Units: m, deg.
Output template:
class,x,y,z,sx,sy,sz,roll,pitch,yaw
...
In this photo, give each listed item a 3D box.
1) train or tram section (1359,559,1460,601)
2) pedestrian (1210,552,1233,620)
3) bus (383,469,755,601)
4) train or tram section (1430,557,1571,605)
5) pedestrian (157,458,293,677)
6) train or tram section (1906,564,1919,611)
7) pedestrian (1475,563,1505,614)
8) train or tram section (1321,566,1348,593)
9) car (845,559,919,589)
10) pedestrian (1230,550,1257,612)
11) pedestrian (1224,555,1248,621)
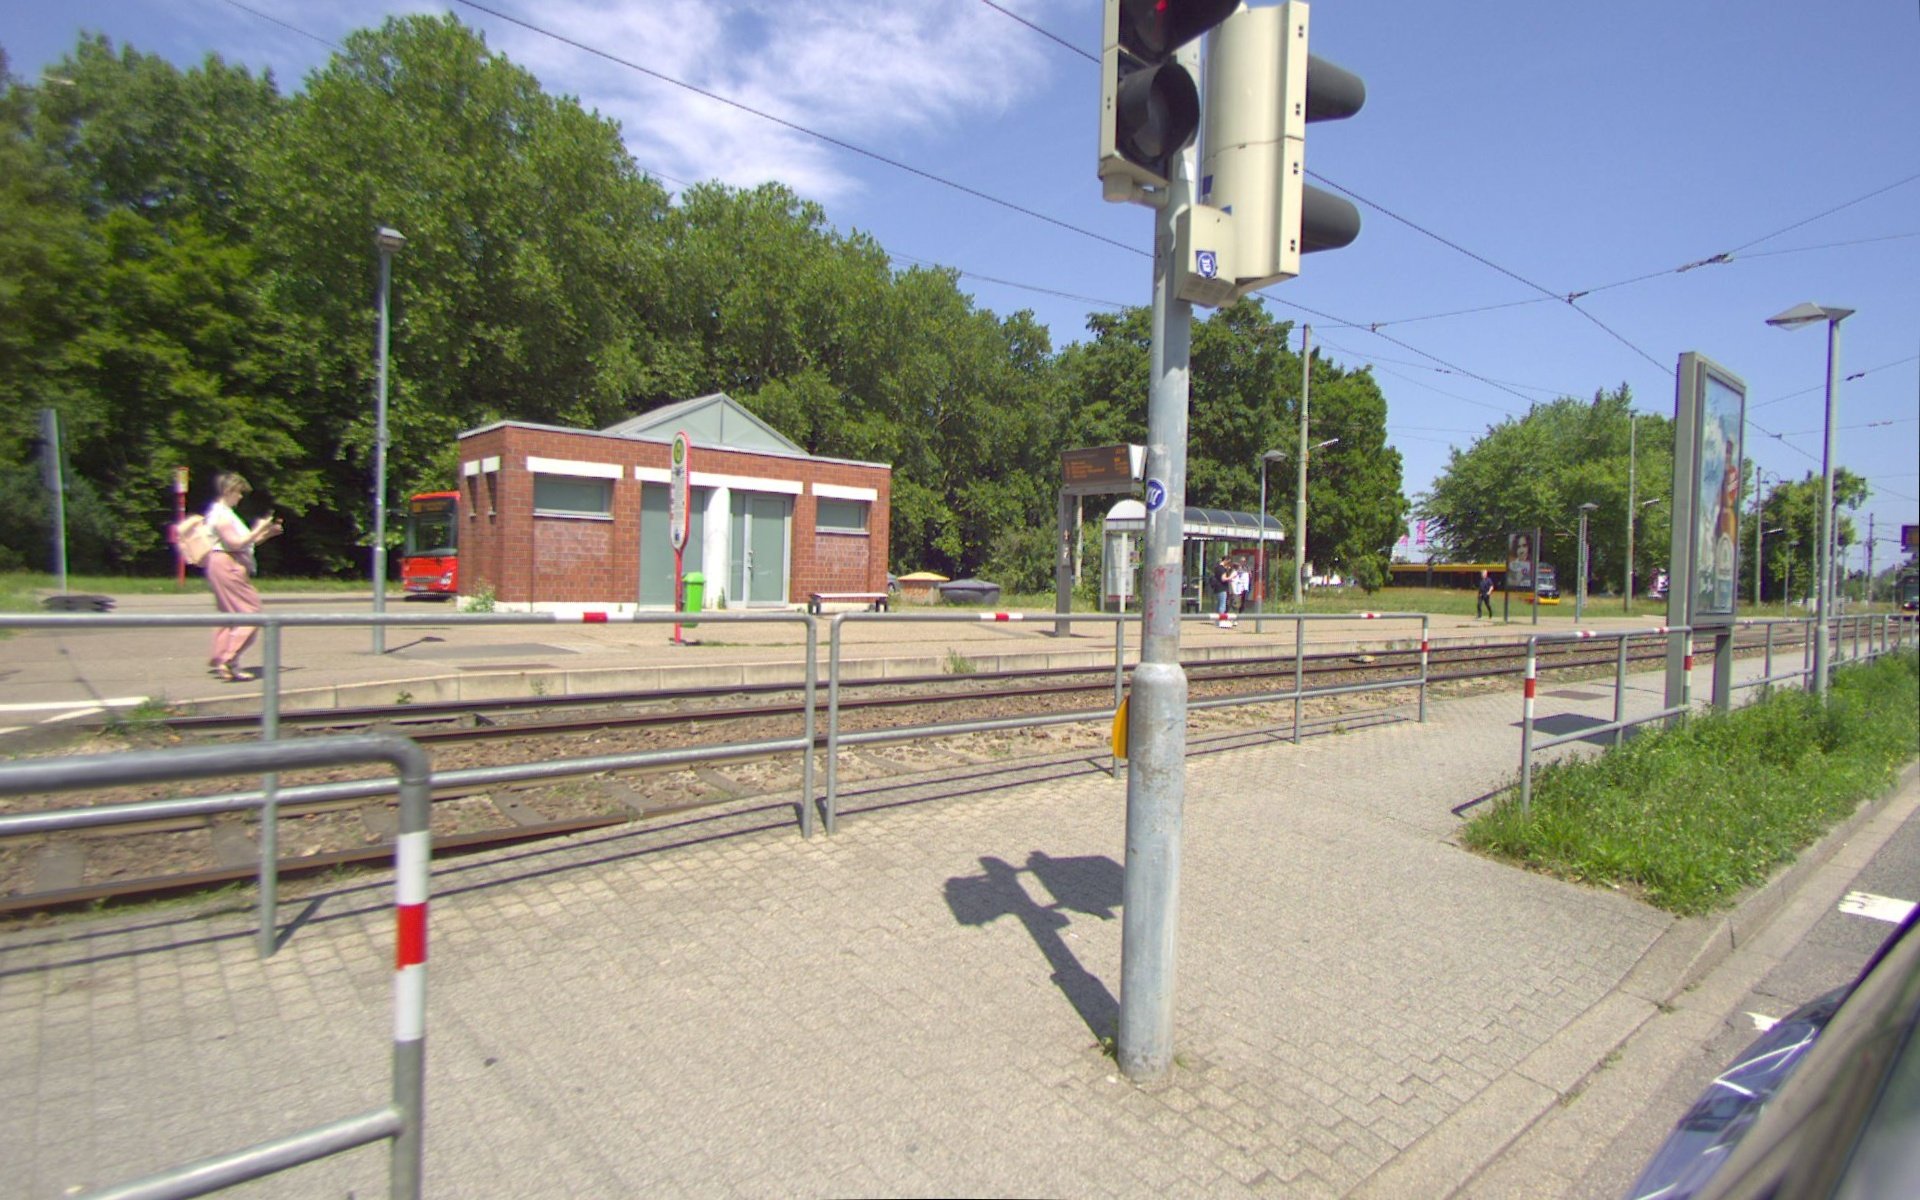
class,x,y,z,sx,sy,sz,roll,pitch,yaw
train or tram section,42.781,-1.908,97.065,2.661,3.694,13.267,0,1,-5
pedestrian,6.425,-0.349,24.861,0.437,1.667,0.361,0,1,-37
bus,-11.829,-1.833,32.827,2.745,3.481,12.313,1,1,30
train or tram section,44.472,-1.609,84.115,2.659,3.694,13.210,0,1,-10
pedestrian,-6.368,-0.274,8.777,0.633,1.781,0.806,1,1,37
train or tram section,71.782,-0.845,74.223,7.130,3.363,2.524,1,2,-40
pedestrian,19.172,-0.414,36.626,0.645,1.786,0.708,1,2,-38
train or tram section,54.151,-2.995,146.180,2.687,3.695,13.139,0,1,25
car,-3.542,-1.205,46.767,1.558,1.281,3.963,3,2,27
pedestrian,8.363,-0.557,29.858,0.726,1.796,0.382,0,1,-37
pedestrian,6.855,-0.308,25.125,0.474,1.616,0.361,0,1,-37
